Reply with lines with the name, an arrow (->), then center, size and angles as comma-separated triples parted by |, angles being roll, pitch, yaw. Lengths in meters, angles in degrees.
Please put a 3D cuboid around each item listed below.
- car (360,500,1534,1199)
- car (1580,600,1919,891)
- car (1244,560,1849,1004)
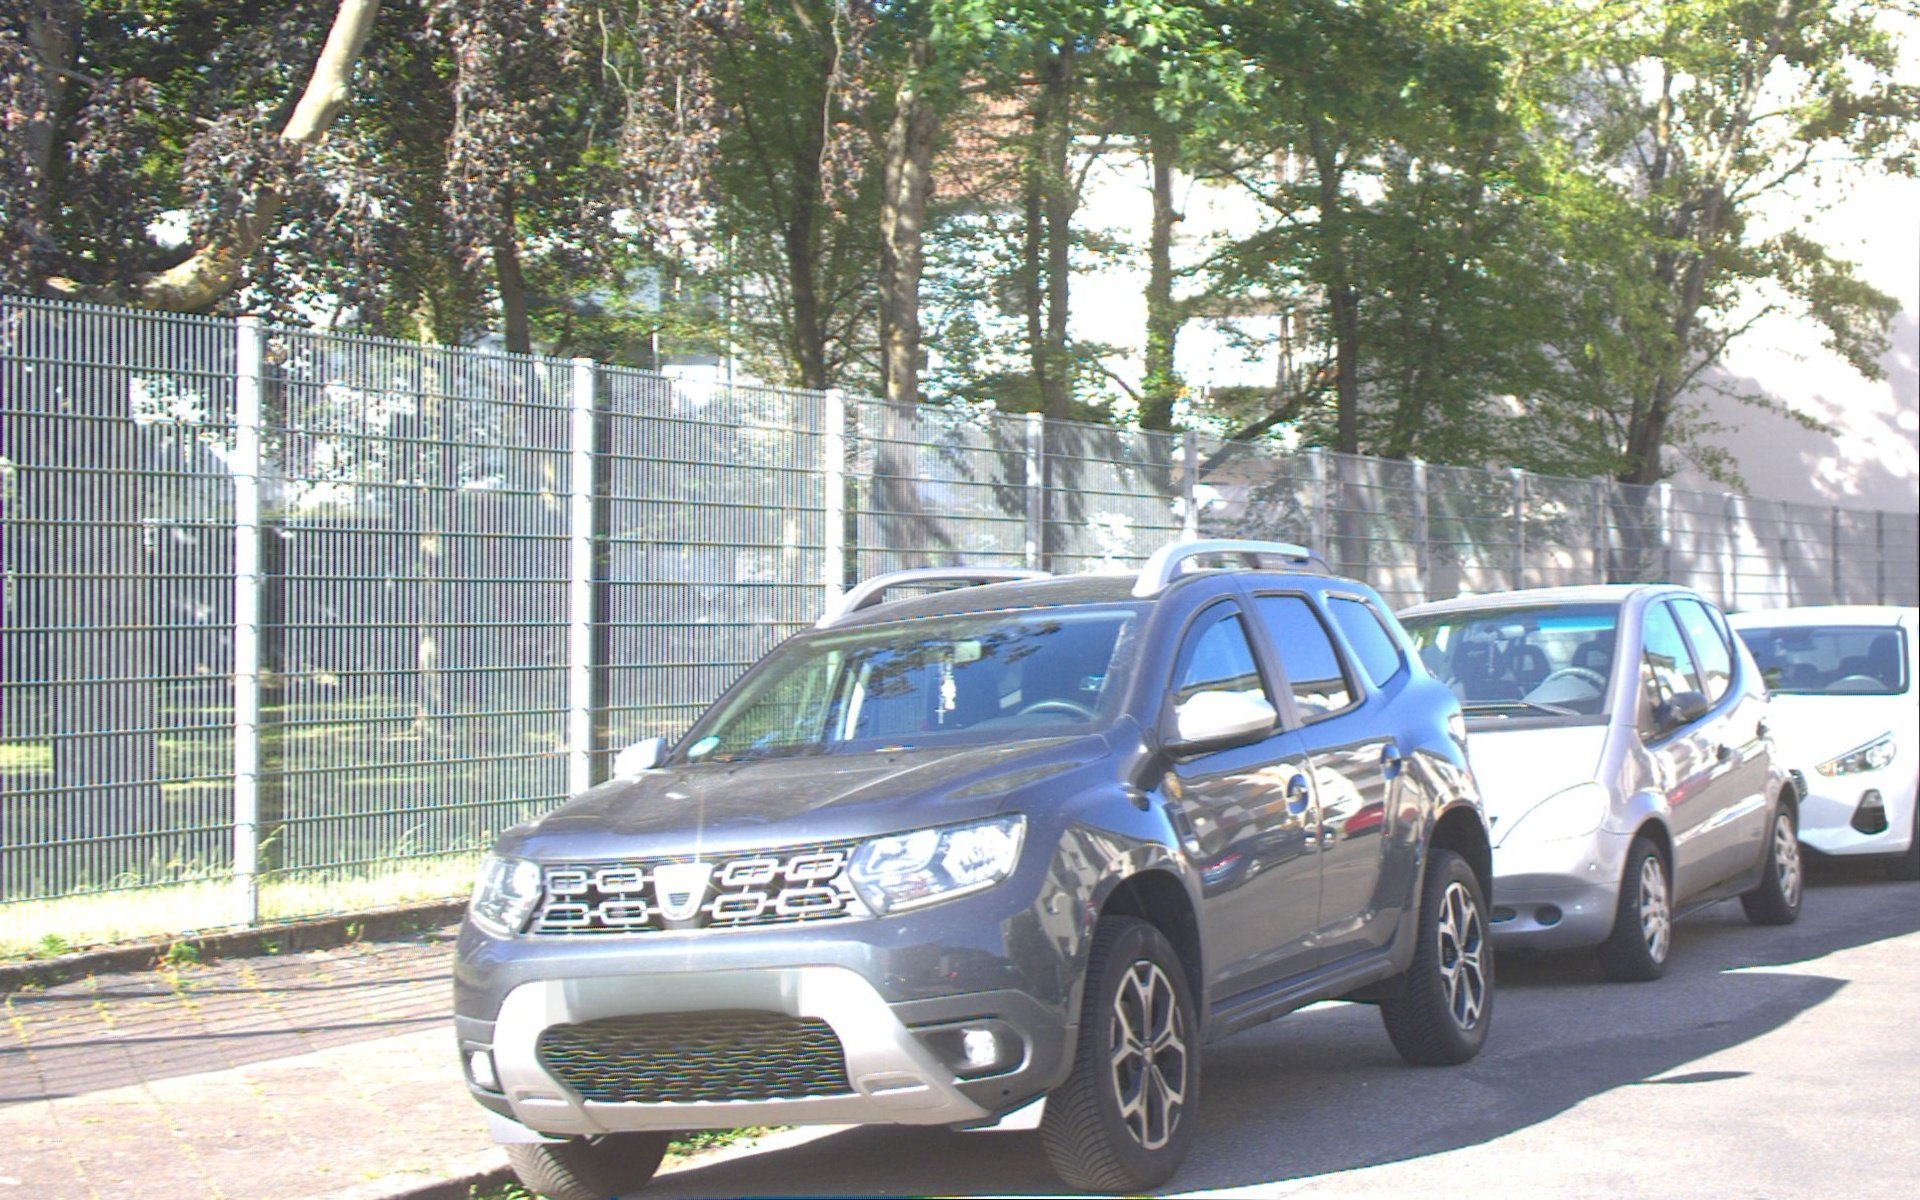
car -> 0.216, 0.654, 9.940 | 1.714, 1.658, 4.159 | -3, -2, 25
car -> 4.932, 0.750, 19.222 | 1.796, 1.440, 4.114 | -2, -1, 26
car -> 2.623, 0.720, 14.712 | 1.566, 1.638, 3.610 | -4, -2, 25
